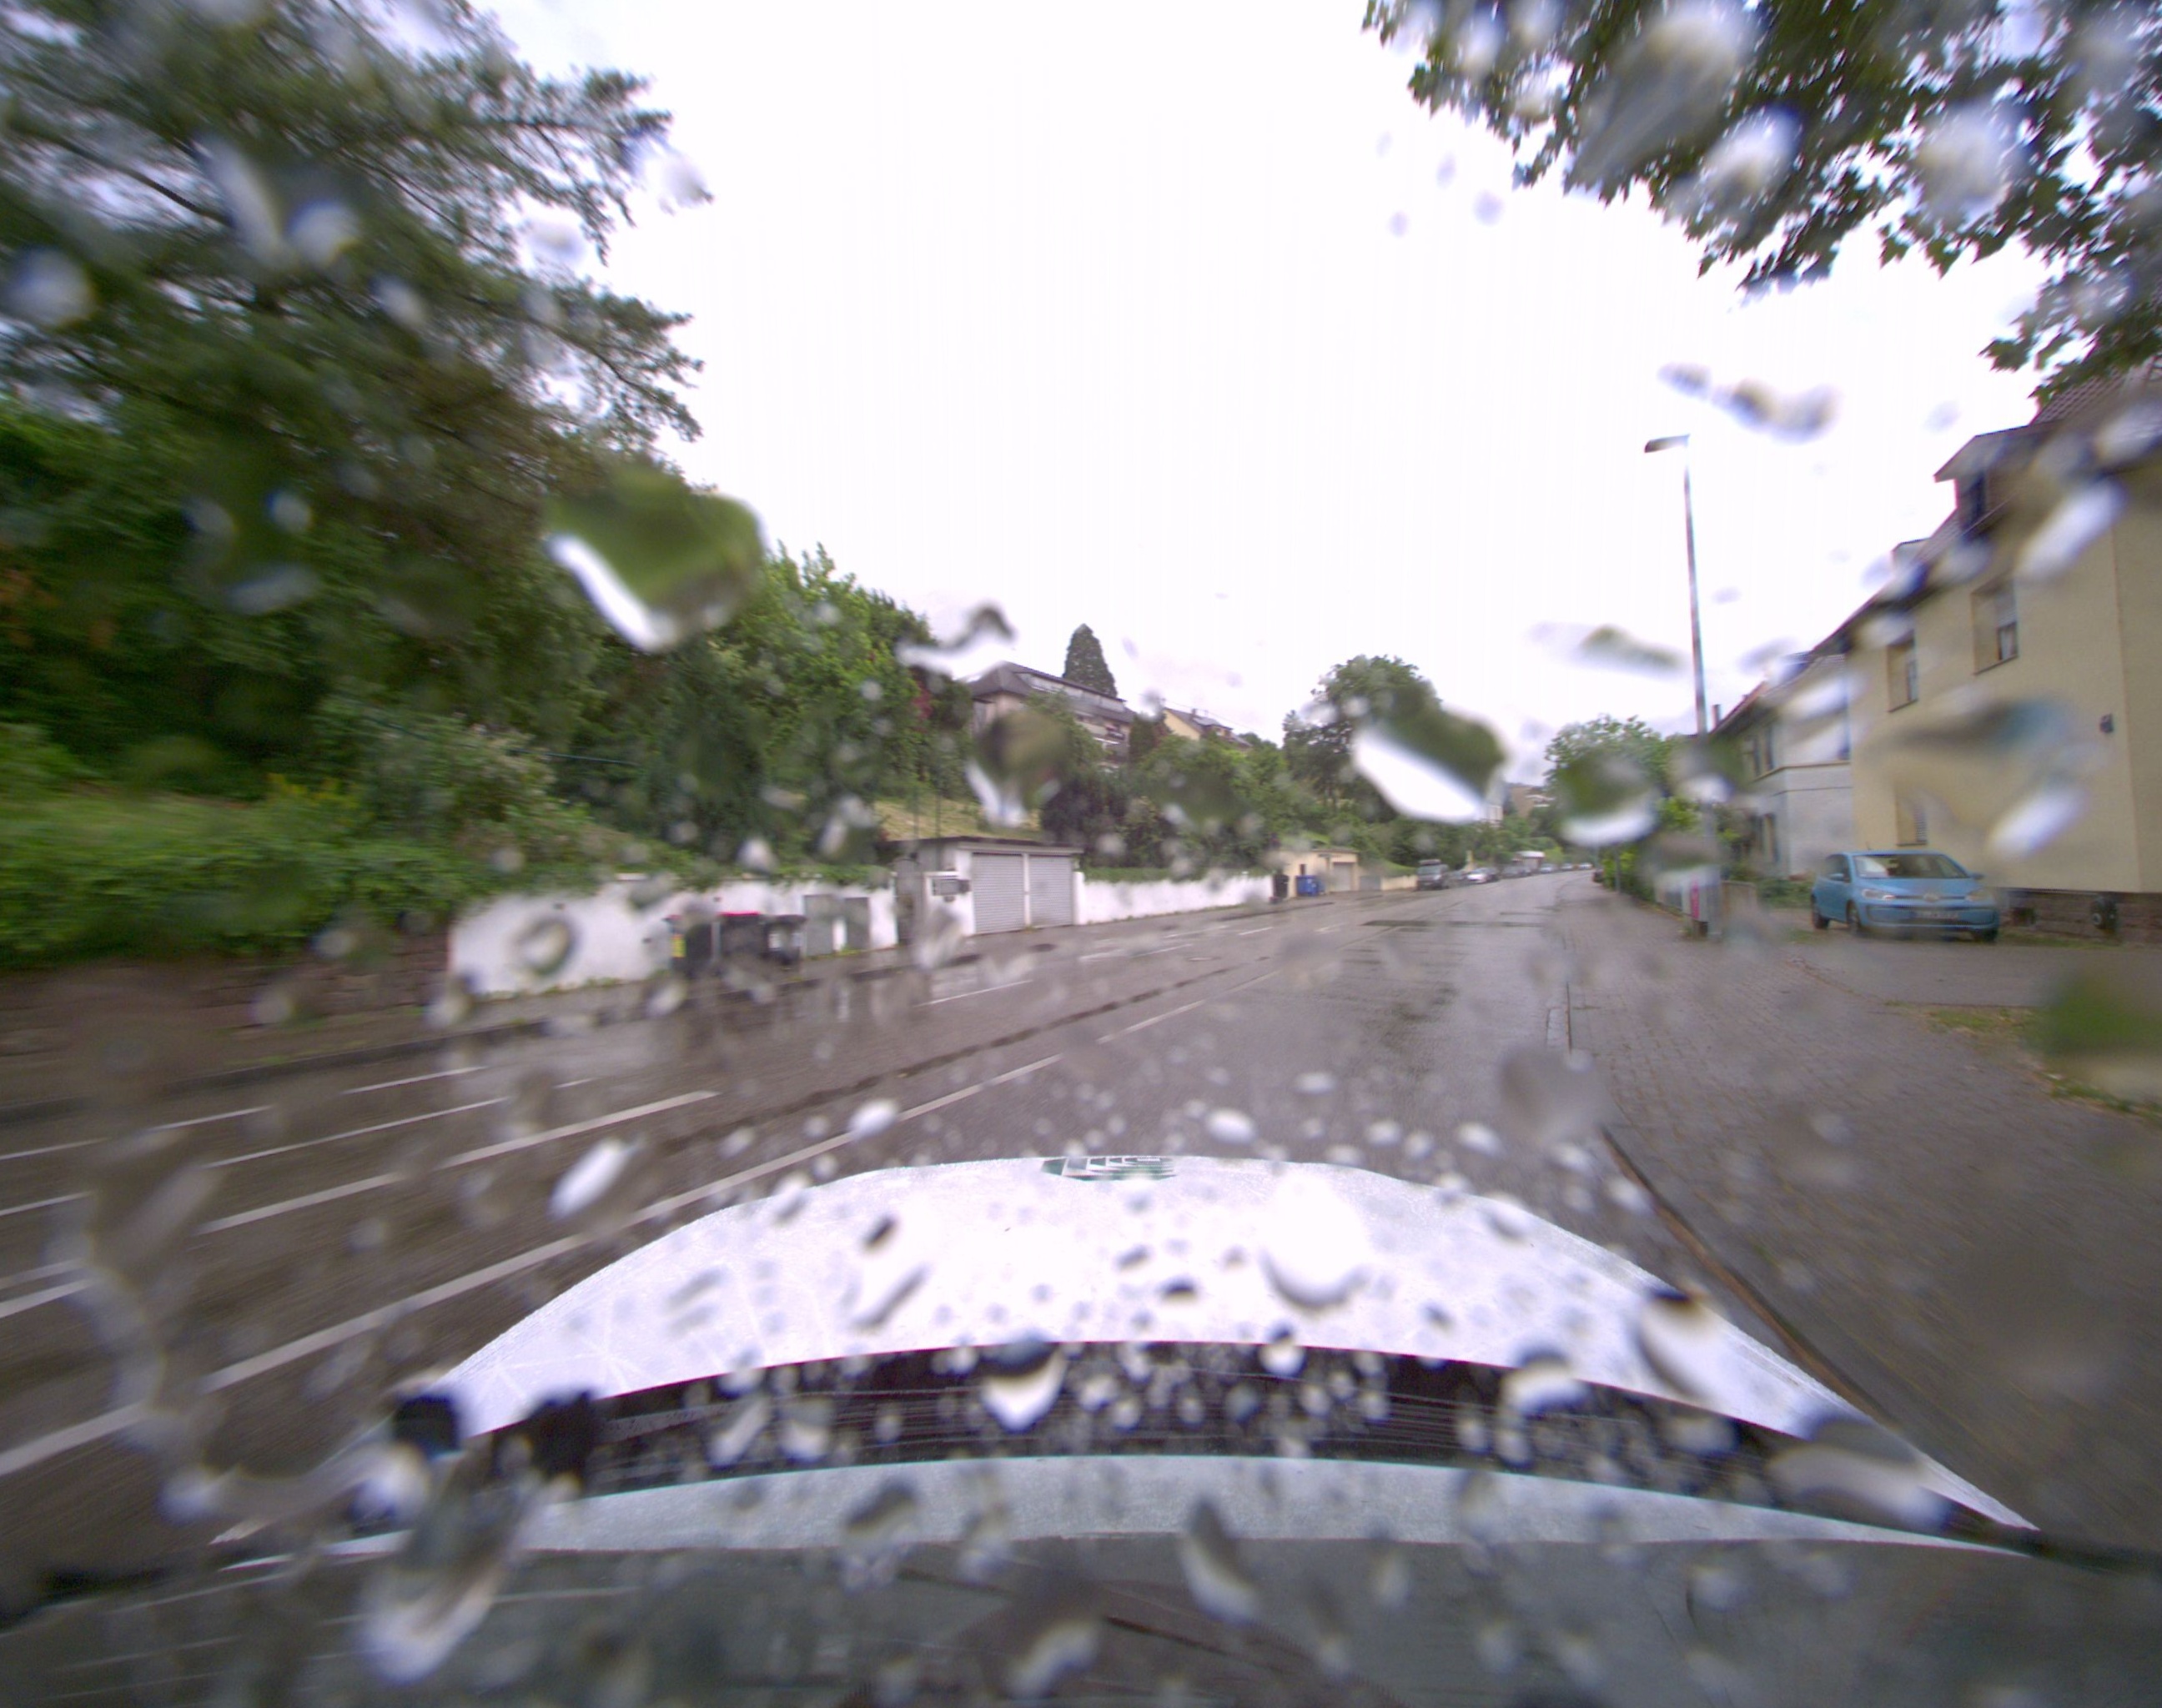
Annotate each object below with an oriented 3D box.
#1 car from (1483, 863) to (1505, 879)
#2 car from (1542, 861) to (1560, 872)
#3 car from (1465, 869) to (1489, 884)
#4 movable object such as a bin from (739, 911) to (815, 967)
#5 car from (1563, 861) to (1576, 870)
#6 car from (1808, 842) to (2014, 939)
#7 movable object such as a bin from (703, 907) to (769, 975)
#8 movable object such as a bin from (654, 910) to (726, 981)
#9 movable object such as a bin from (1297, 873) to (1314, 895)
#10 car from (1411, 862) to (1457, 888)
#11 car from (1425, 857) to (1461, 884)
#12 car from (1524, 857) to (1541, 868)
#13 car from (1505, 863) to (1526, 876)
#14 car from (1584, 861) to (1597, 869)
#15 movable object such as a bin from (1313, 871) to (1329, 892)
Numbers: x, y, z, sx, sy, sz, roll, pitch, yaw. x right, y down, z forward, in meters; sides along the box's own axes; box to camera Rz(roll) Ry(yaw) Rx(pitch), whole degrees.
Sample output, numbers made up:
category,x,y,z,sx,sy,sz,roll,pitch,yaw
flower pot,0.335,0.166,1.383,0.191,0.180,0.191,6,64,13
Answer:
category,x,y,z,sx,sy,sz,roll,pitch,yaw
car,45.305,1.818,89.301,1.715,1.551,3.841,-3,-1,32
car,75.432,2.002,130.734,1.804,1.456,3.841,-4,-1,39
car,39.542,2.241,81.275,1.694,1.345,3.703,-3,-1,32
movable object such as a bin,-5.528,1.542,14.841,0.841,0.916,0.960,-3,-1,27
car,89.380,2.093,148.980,1.738,1.456,3.841,-4,-1,36
car,14.039,0.564,14.015,1.629,1.447,3.571,-3,-1,32
movable object such as a bin,-5.852,1.464,13.831,0.628,1.060,0.799,-3,-2,28
movable object such as a bin,-6.314,1.463,13.164,0.680,1.060,0.758,-3,-2,28
movable object such as a bin,13.986,1.869,50.740,0.704,1.336,0.839,-4,-2,37
car,27.343,1.609,62.975,2.273,1.753,5.213,-4,-1,34
car,30.218,1.346,67.947,1.974,2.014,4.026,-4,-1,34
car,66.449,1.220,119.861,1.710,1.456,3.841,-4,-1,35
car,55.576,1.996,104.074,1.697,1.551,3.841,-4,-1,37
car,102.193,2.129,163.261,1.710,1.456,3.841,-4,-1,39
movable object such as a bin,15.514,1.783,52.586,0.704,1.336,0.839,-4,-2,37
